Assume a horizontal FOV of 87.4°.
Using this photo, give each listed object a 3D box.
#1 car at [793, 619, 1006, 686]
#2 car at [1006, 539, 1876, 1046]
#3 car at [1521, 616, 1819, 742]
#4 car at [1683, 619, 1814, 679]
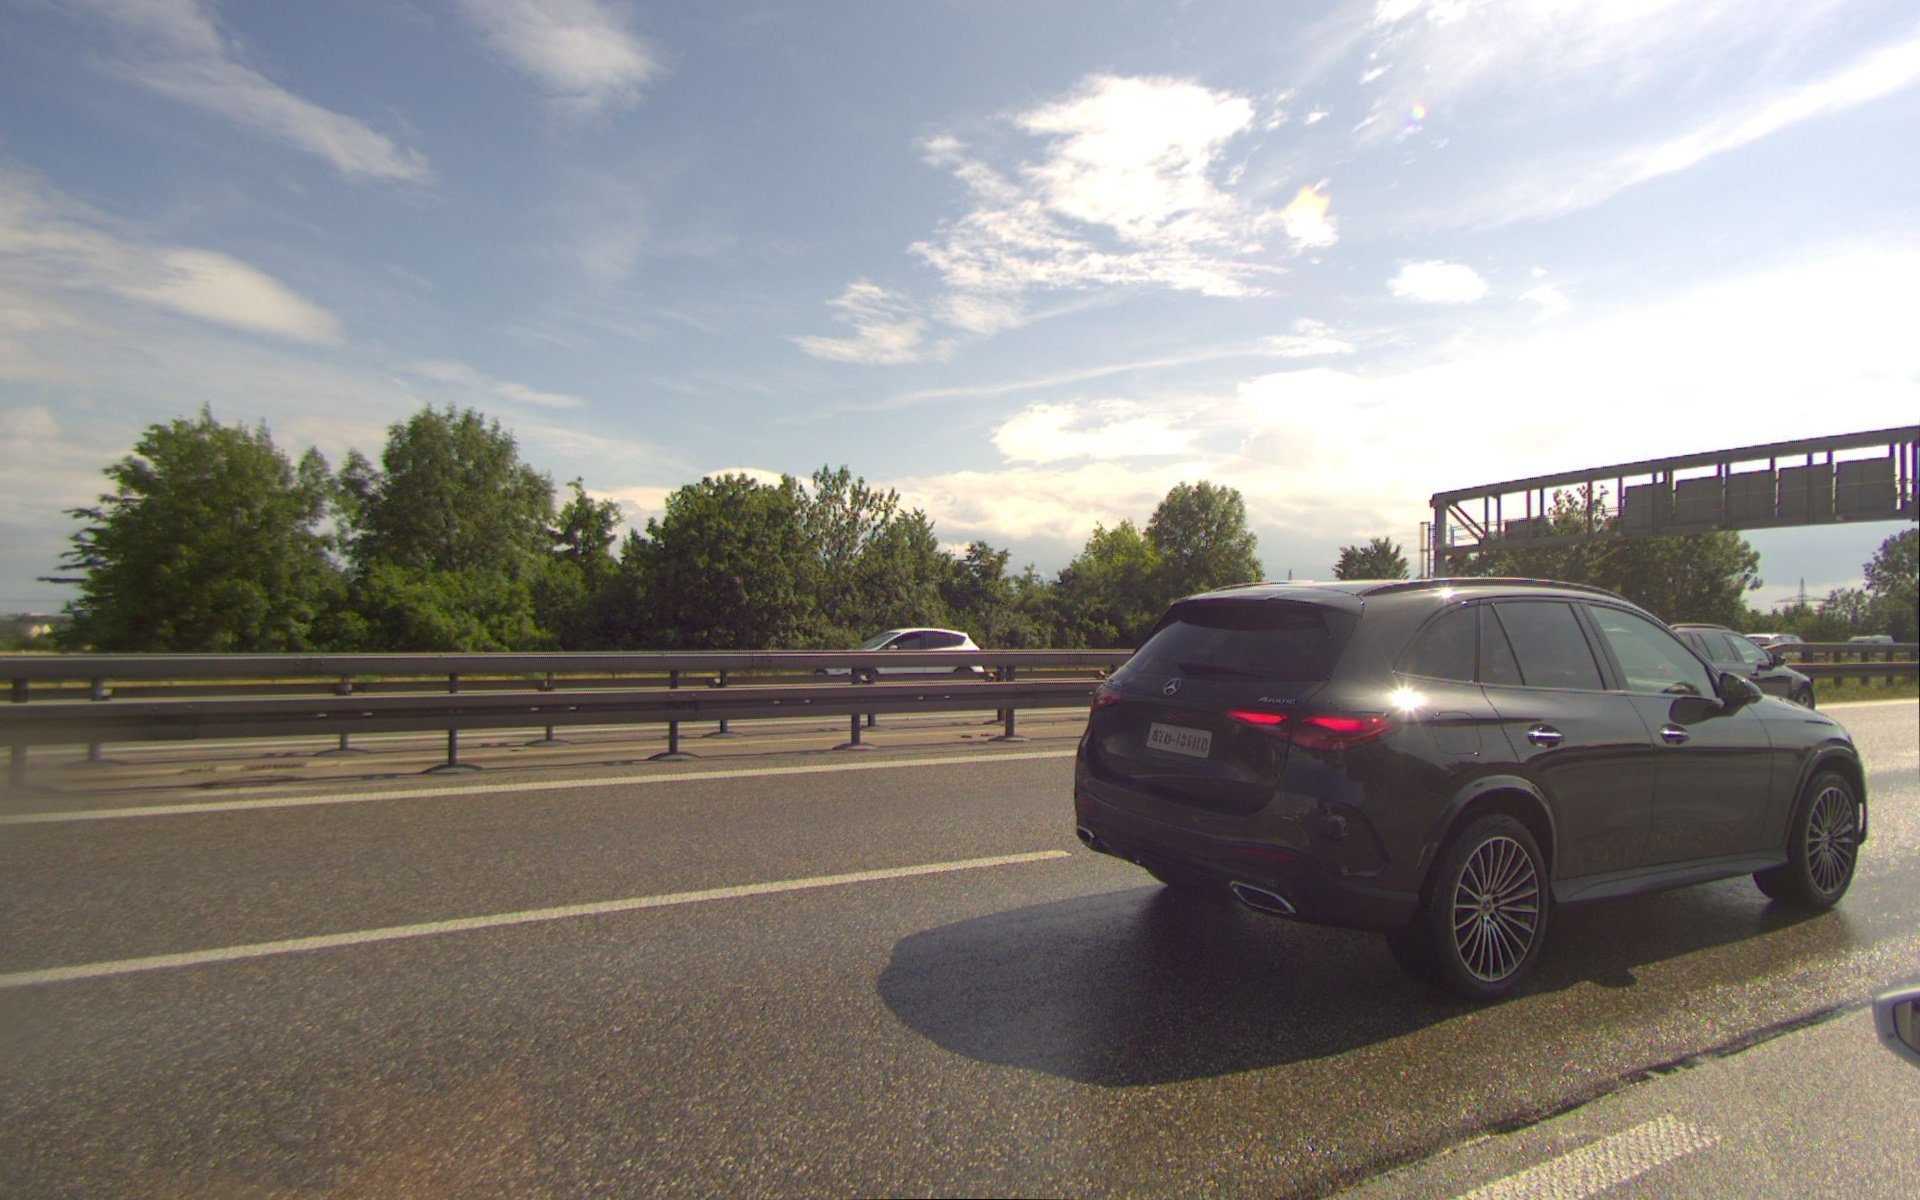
[{"bbox_3d":[-1.484,1.283,25.338,4.980,1.507,2.106,1,-1,-31],"label":"car"},{"bbox_3d":[2.616,0.698,5.281,4.352,1.683,1.985,2,-1,-29],"label":"car"},{"bbox_3d":[10.008,1.023,14.111,4.156,1.537,1.750,1,-1,-28],"label":"car"},{"bbox_3d":[24.874,1.510,31.674,4.108,1.729,1.983,1,-1,-32],"label":"car"}]
